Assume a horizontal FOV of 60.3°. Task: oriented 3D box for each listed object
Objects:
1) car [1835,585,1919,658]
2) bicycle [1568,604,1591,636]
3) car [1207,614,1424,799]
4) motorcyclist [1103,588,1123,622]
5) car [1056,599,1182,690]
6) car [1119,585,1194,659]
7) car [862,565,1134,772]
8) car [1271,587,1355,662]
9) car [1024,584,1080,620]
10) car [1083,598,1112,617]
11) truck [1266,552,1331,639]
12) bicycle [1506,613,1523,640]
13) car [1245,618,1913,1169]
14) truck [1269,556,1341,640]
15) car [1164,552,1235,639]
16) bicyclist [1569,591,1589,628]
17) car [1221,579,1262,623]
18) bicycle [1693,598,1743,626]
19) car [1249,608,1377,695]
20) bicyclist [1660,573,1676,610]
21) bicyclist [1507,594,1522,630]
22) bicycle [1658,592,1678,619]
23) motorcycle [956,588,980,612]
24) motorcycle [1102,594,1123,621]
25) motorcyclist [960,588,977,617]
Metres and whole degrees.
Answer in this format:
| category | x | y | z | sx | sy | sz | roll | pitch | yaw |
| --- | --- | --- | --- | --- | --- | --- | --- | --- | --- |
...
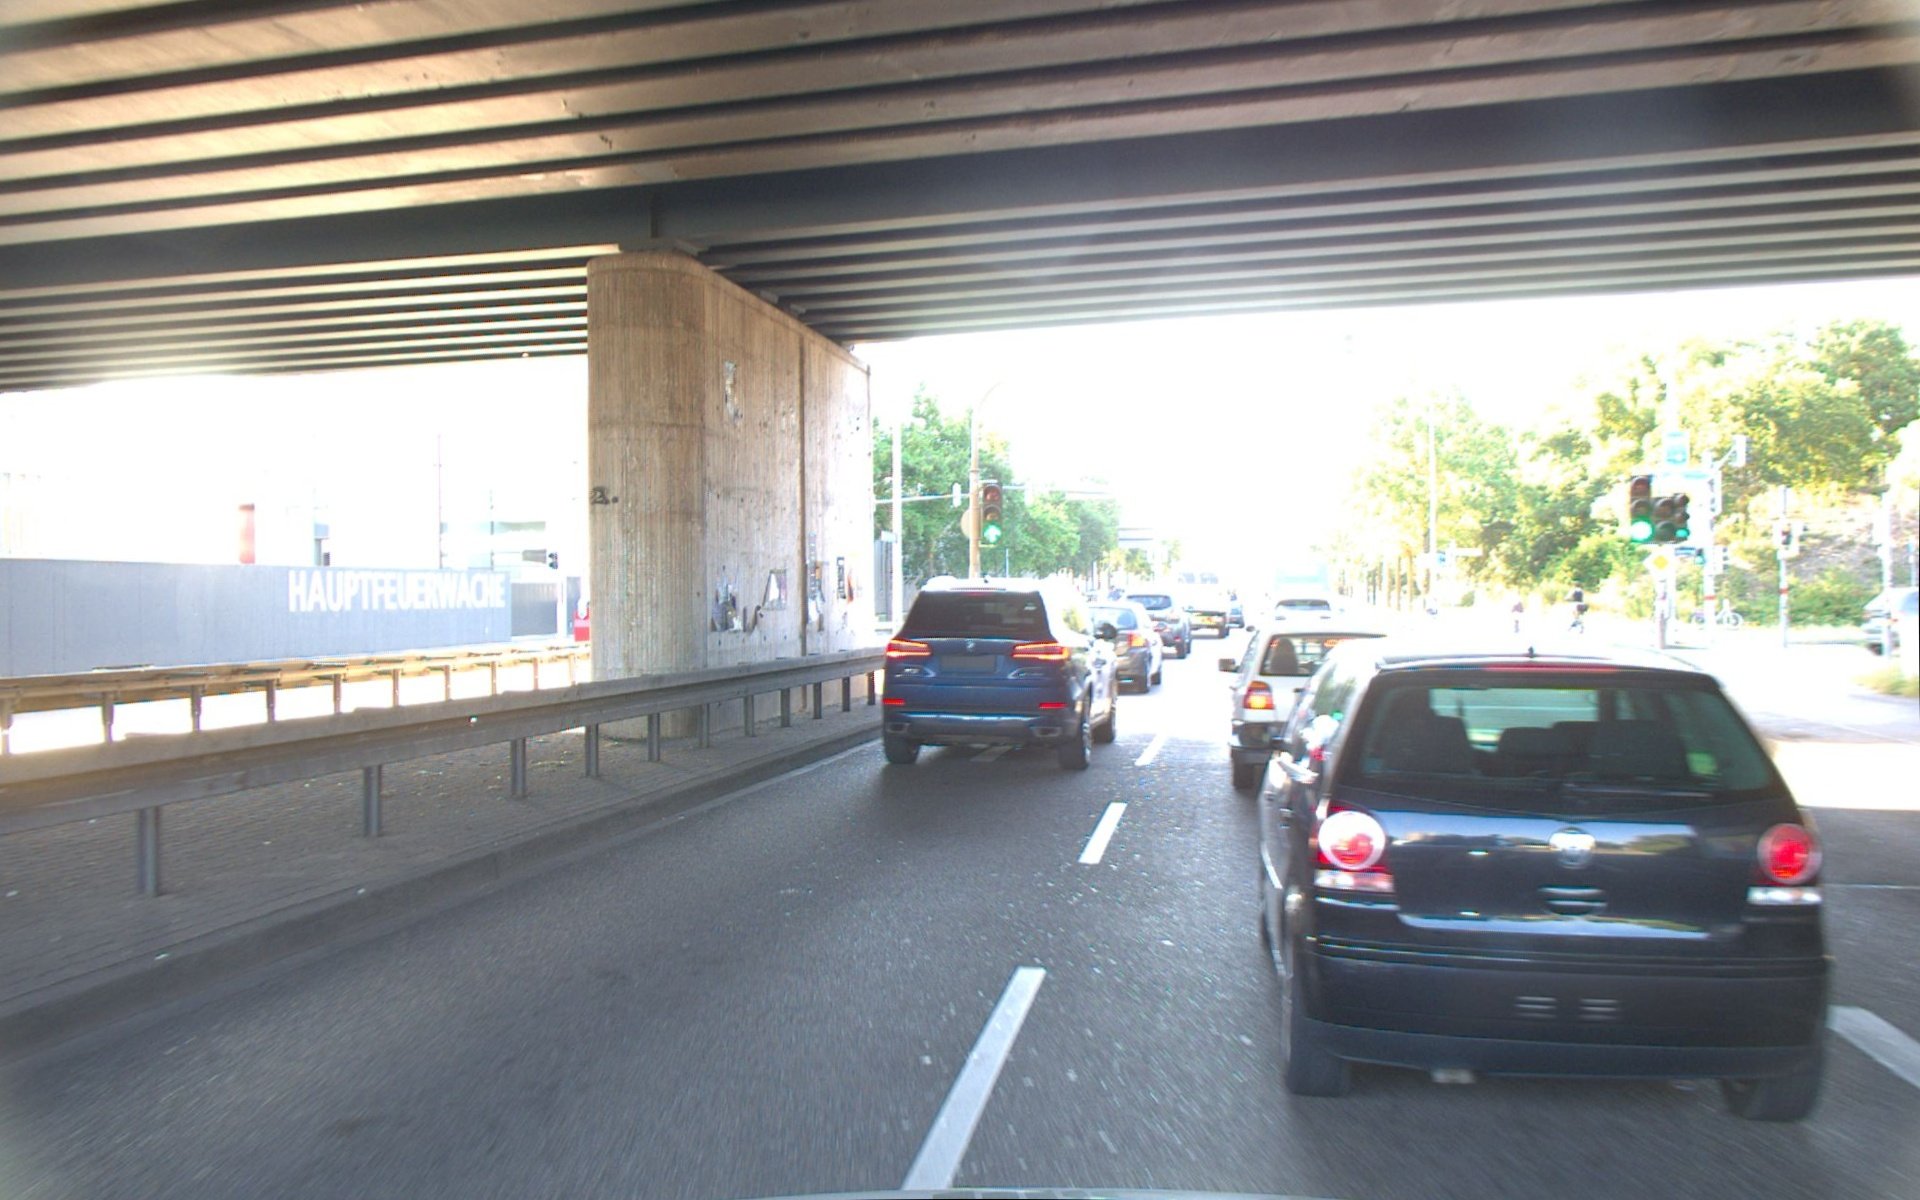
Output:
| category | x | y | z | sx | sy | sz | roll | pitch | yaw |
| --- | --- | --- | --- | --- | --- | --- | --- | --- | --- |
| car | 23.123 | 0.540 | 39.516 | 3.990 | 1.659 | 1.732 | 1 | -1 | -21 |
| bicycle | 22.636 | 0.719 | 60.449 | 0.552 | 1.132 | 1.623 | 1 | 0 | 12 |
| car | 3.160 | 0.871 | 15.350 | 1.545 | 1.438 | 4.065 | 1 | 0 | 6 |
| motorcyclist | 6.589 | 0.211 | 71.330 | 0.780 | 1.373 | 1.275 | -2 | 1 | 5 |
| car | 2.821 | 0.742 | 28.681 | 1.582 | 1.434 | 3.685 | 1 | 0 | 15 |
| car | 4.874 | 0.537 | 40.692 | 1.582 | 1.709 | 3.686 | 1 | 0 | 10 |
| car | 0.553 | 0.617 | 16.778 | 1.951 | 1.764 | 4.536 | 1 | 0 | 12 |
| car | 8.035 | 0.544 | 37.757 | 1.758 | 1.586 | 4.003 | 1 | 0 | 12 |
| car | 4.154 | 0.113 | 74.032 | 1.951 | 1.501 | 4.084 | 2 | 0 | 11 |
| car | 11.734 | 0.652 | 141.233 | 1.951 | 1.425 | 4.352 | -4 | -1 | 10 |
| truck | 11.062 | -0.122 | 53.990 | 1.953 | 2.715 | 4.003 | 1 | 0 | 12 |
| bicycle | 19.589 | 0.934 | 58.431 | 0.428 | 0.930 | 1.027 | -2 | -1 | 12 |
| car | 1.998 | 0.810 | 6.375 | 1.582 | 1.434 | 3.685 | 1 | 0 | 7 |
| truck | 10.254 | -0.033 | 49.201 | 1.953 | 2.356 | 4.003 | 1 | 0 | 12 |
| car | 7.669 | -0.128 | 53.297 | 2.091 | 2.621 | 5.090 | 1 | 0 | 7 |
| bicyclist | 22.633 | 0.350 | 60.465 | 0.532 | 1.339 | 0.836 | 1 | -1 | 12 |
| car | 11.631 | 0.054 | 68.134 | 1.582 | 1.709 | 3.686 | 1 | 0 | 11 |
| bicycle | 27.880 | 0.447 | 60.857 | 1.630 | 1.008 | 0.577 | -1 | 2 | 29 |
| car | 5.959 | 0.825 | 28.041 | 1.951 | 1.317 | 4.003 | 1 | 0 | 12 |
| bicyclist | 25.391 | -0.297 | 59.342 | 0.418 | 1.331 | 0.460 | 1 | -1 | 12 |
| bicyclist | 19.581 | 0.415 | 58.431 | 0.418 | 1.254 | 0.460 | -1 | -1 | 12 |
| bicycle | 25.378 | 0.200 | 59.295 | 0.428 | 0.930 | 1.027 | 1 | -1 | 12 |
| motorcycle | 0.420 | -0.002 | 85.739 | 0.666 | 1.176 | 2.240 | 1 | 0 | 15 |
| motorcycle | 6.569 | 0.331 | 71.272 | 0.822 | 1.094 | 2.402 | -2 | 0 | 5 |
| motorcyclist | 0.425 | 0.137 | 85.749 | 0.667 | 1.449 | 0.868 | 1 | -1 | 14 |
